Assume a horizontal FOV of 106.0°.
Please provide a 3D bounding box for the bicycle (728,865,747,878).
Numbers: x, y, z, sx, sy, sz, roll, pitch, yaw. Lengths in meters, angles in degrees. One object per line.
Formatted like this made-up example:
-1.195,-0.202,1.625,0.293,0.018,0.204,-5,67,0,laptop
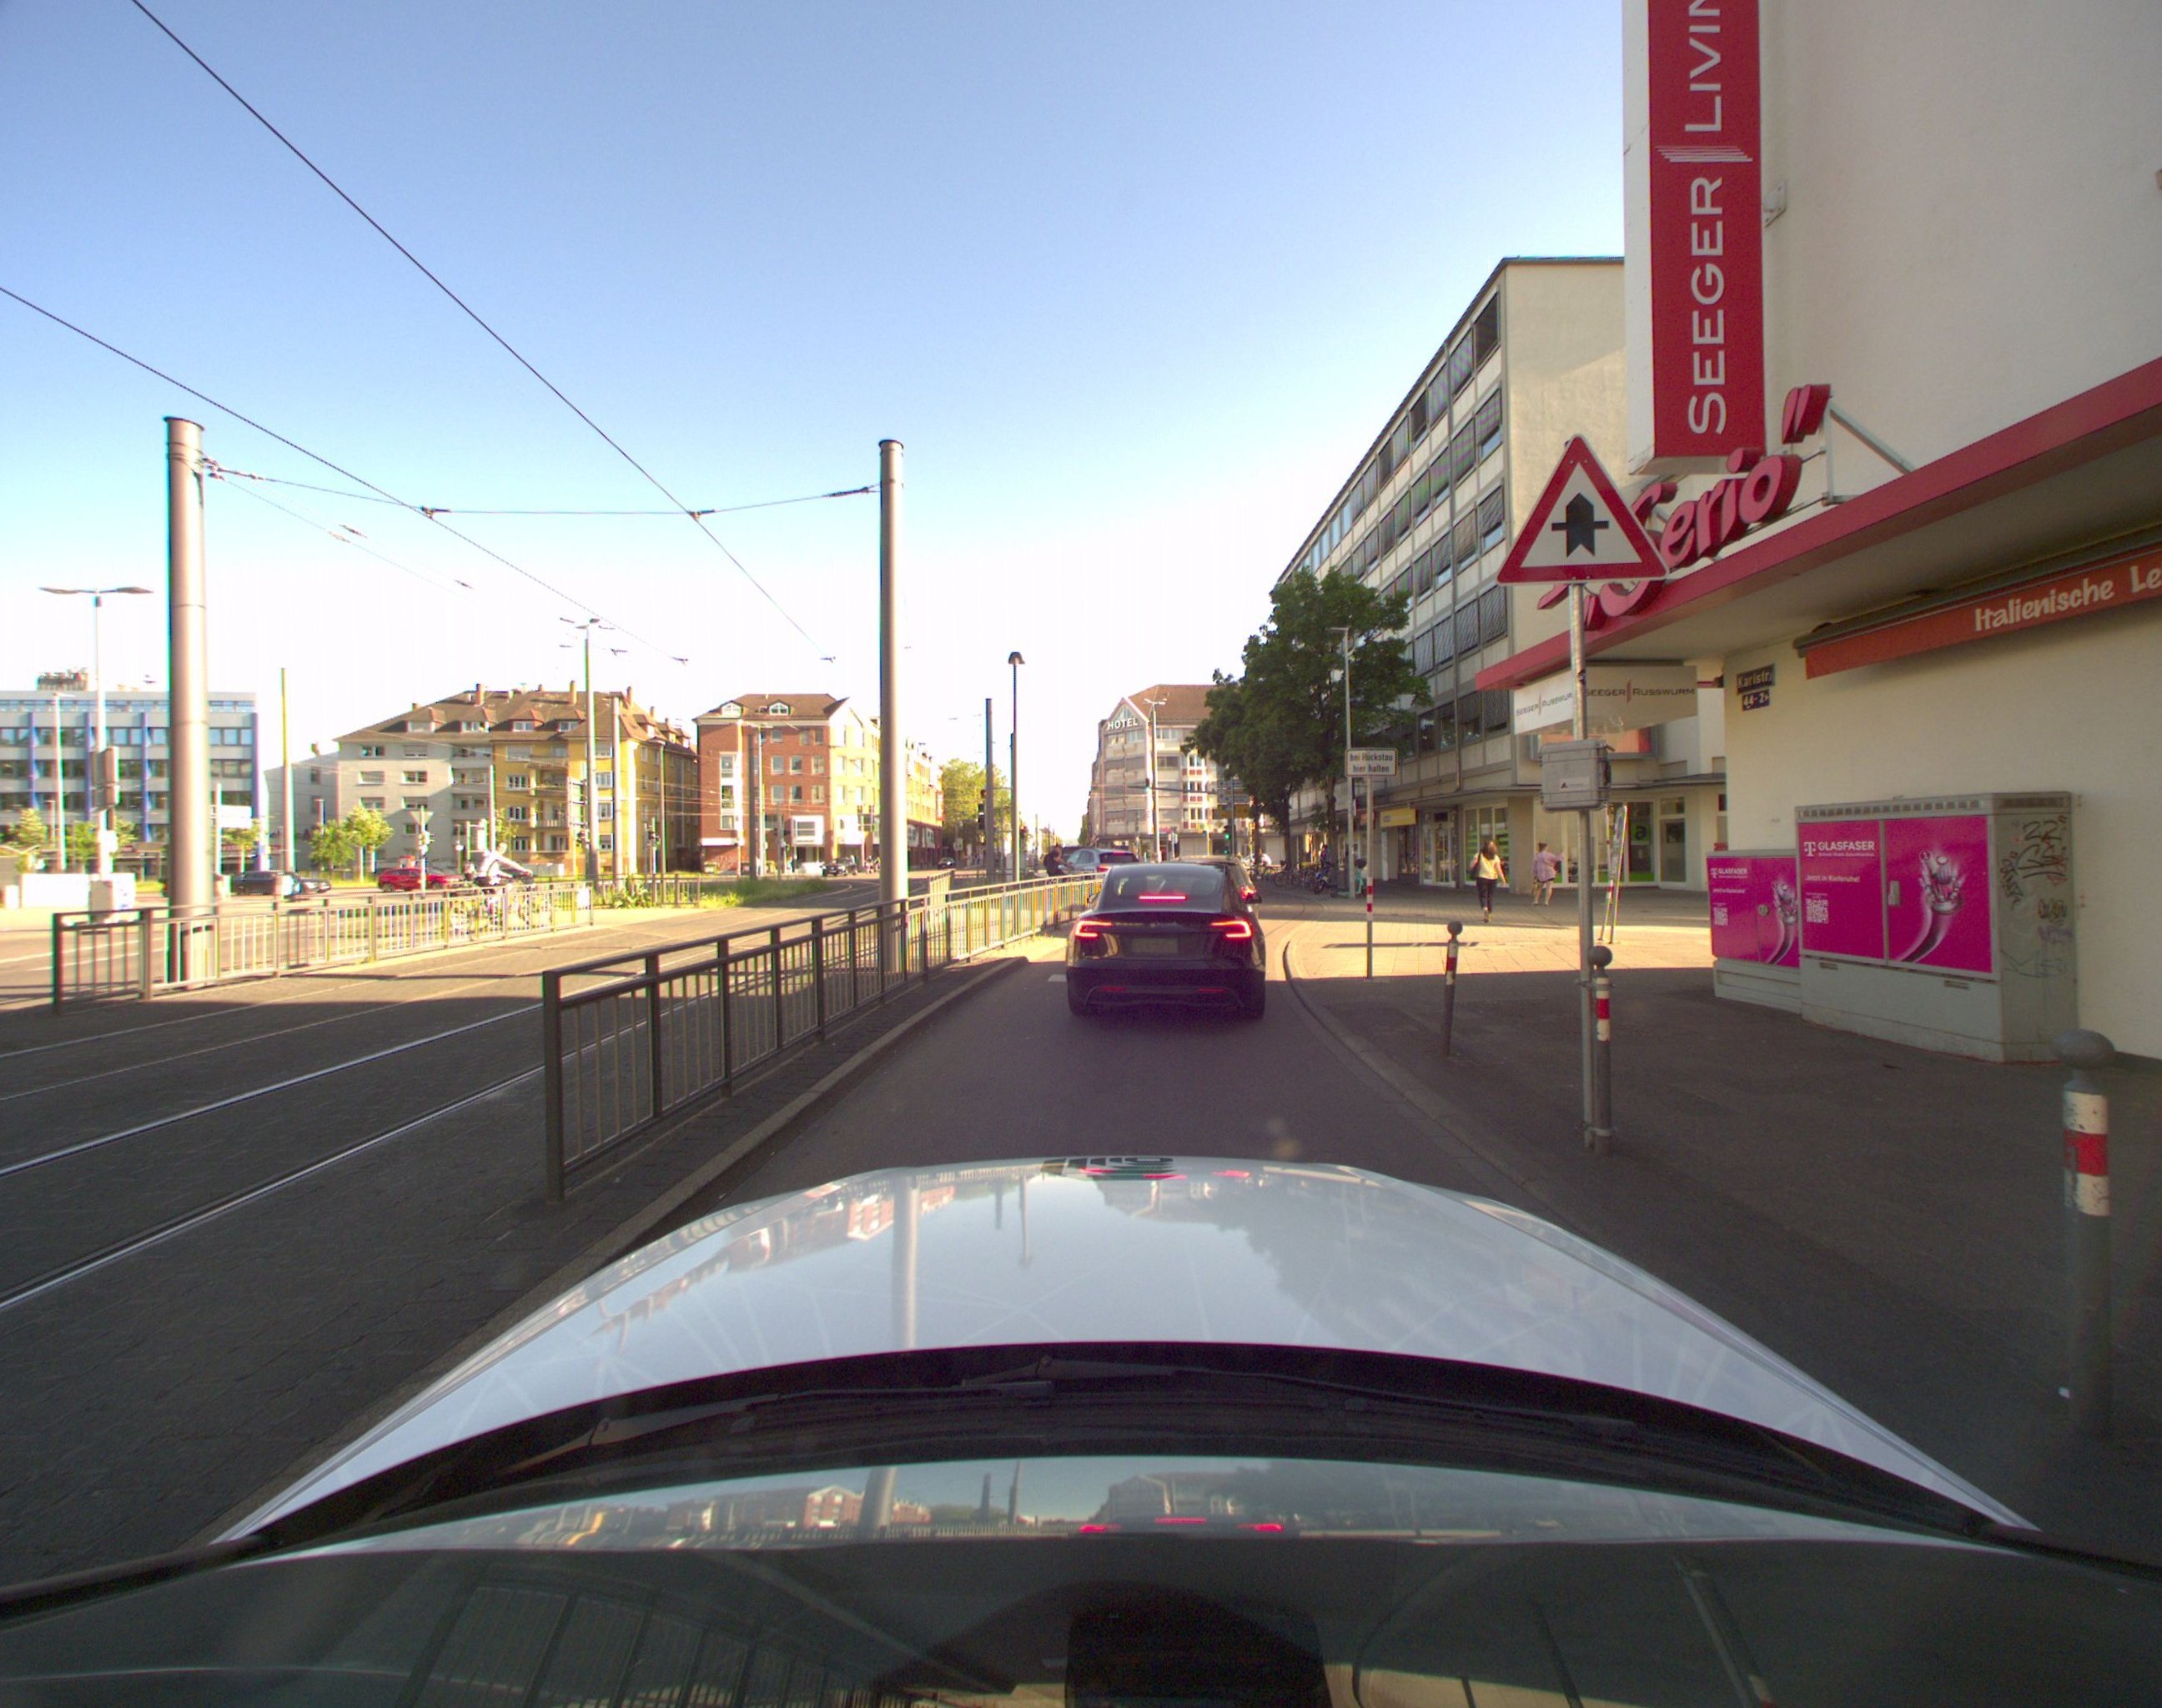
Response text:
-26.042,1.327,61.759,0.445,0.972,2.247,0,-1,2,bicycle

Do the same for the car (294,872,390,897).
-45.316,1.850,50.037,3.990,1.483,1.786,0,-1,-12,car

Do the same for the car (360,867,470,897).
-39.461,1.652,48.368,4.585,1.700,1.993,0,-1,-10,car

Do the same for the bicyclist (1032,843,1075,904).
-0.760,0.528,22.446,0.763,1.628,0.967,0,-1,-37,bicyclist

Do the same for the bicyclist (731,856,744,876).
-26.040,0.916,61.752,0.631,1.503,0.696,0,-1,1,bicyclist

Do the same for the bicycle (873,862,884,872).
-22.330,1.449,89.789,0.527,1.088,2.286,0,-1,4,bicycle

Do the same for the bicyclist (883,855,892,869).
-21.905,0.897,92.367,0.780,1.563,0.747,-1,0,3,bicyclist

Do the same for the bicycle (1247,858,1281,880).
9.262,0.757,41.294,1.643,1.099,0.350,-1,0,3,bicycle

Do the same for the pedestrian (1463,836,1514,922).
8.554,0.511,17.130,0.906,1.752,1.044,-1,-1,25,pedestrian

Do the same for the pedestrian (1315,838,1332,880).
11.761,0.229,39.532,0.659,2.014,0.580,0,-1,4,pedestrian

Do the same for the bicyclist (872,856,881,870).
-22.381,0.983,89.073,0.780,1.563,0.747,-1,0,3,bicyclist

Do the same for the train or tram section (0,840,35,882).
-86.675,0.593,60.916,11.233,3.131,2.795,0,-1,-11,train or tram section

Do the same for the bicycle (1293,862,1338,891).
8.894,0.856,30.934,1.649,1.099,0.349,0,-1,-9,bicycle

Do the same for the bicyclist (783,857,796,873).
-26.861,1.006,74.944,0.699,1.471,0.975,-1,0,9,bicyclist

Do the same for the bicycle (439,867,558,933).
-11.579,0.883,16.243,0.479,1.222,1.866,-1,-1,44,bicycle

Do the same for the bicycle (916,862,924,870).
-22.273,1.612,112.521,0.527,1.088,2.227,0,-1,4,bicycle

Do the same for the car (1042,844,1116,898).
-0.161,0.660,32.738,1.997,2.014,3.980,-1,0,-15,car

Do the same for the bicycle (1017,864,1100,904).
-0.604,0.814,22.581,2.346,1.053,0.624,0,-1,-36,bicycle

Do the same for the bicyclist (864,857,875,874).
-19.625,1.054,75.573,0.781,1.527,0.590,0,-1,6,bicyclist

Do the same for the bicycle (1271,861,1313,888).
8.616,0.843,33.316,1.649,1.099,0.349,0,-1,-9,bicycle

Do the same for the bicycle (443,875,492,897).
-34.693,1.812,46.068,2.188,1.214,0.544,0,-1,-11,bicycle

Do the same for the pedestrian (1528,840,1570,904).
12.428,0.475,21.639,0.881,1.667,0.813,-1,-1,25,pedestrian

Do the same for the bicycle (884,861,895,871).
-21.831,1.310,92.835,0.527,1.088,2.227,-1,0,4,bicycle

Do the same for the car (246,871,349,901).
-45.495,1.837,47.374,3.984,1.672,1.772,0,-1,-8,car

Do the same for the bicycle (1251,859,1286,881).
9.280,0.794,40.247,1.643,1.099,0.350,0,-1,3,bicycle

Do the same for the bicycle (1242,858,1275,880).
9.243,0.787,42.389,1.643,1.099,0.350,0,-1,3,bicycle

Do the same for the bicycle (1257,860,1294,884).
9.139,0.833,38.208,1.643,1.099,0.350,0,-1,3,bicycle

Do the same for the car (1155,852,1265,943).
2.361,0.696,15.079,1.741,1.454,4.009,-1,0,8,car

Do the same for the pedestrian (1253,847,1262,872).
12.271,0.380,56.580,0.523,1.710,0.404,0,-1,5,pedestrian

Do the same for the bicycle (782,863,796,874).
-26.861,1.355,74.940,0.402,0.981,1.699,-1,-1,10,bicycle

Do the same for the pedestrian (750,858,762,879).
-28.857,1.296,72.337,0.780,1.820,0.747,0,-1,3,pedestrian

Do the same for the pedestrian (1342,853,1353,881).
12.793,0.628,39.115,0.388,1.343,0.513,0,-1,4,pedestrian

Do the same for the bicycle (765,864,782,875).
-25.883,1.292,68.562,0.522,0.972,2.247,0,-1,2,bicycle

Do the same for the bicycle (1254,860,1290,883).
9.204,0.837,39.234,1.643,1.099,0.350,0,-1,3,bicycle

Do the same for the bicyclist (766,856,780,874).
-25.895,0.910,68.535,0.895,1.503,0.696,0,-1,1,bicyclist

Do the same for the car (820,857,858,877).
-19.216,1.031,64.777,1.704,1.527,4.038,0,-1,2,car

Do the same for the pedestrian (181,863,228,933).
-21.702,1.069,20.175,0.585,1.681,0.779,-1,-1,44,pedestrian

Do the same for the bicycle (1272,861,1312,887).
9.118,0.854,35.253,1.643,1.099,0.350,0,-1,3,bicycle

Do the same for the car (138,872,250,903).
-50.626,1.876,46.555,3.952,1.685,1.903,0,-1,-11,car

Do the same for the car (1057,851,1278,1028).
0.949,0.726,8.773,1.820,1.455,4.007,0,-1,7,car

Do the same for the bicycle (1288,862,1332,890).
8.816,0.858,31.358,1.649,1.061,0.349,0,-1,-9,bicycle

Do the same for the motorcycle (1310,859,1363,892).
9.144,0.774,29.165,1.701,1.173,0.541,0,-1,0,motorcycle

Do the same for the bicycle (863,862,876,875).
-19.619,1.338,75.515,0.456,1.093,2.205,0,-1,6,bicycle

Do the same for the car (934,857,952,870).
-17.835,1.223,104.996,1.692,1.731,3.706,0,-1,0,car

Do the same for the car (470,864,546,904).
-23.674,1.196,33.783,1.645,1.526,3.839,0,-1,-20,car

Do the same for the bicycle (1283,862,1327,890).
8.730,0.855,31.784,1.649,1.099,0.349,0,-1,-9,bicycle

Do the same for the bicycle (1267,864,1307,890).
8.667,0.964,34.259,1.649,1.099,0.349,0,-1,-9,bicycle

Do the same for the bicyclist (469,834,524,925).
-11.631,0.496,16.208,0.749,1.759,0.757,-1,-1,44,bicyclist

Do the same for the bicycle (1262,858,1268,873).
12.695,0.785,56.147,0.330,1.034,1.260,-1,-1,11,bicycle

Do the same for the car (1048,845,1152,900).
0.519,0.569,26.676,1.891,1.662,4.126,0,-1,-23,car

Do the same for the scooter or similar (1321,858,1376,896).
8.897,0.760,27.095,1.625,1.215,0.649,-1,-1,32,scooter or similar

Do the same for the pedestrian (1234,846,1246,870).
11.015,0.272,56.451,0.697,1.662,0.777,0,-1,1,pedestrian

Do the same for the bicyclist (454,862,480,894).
-34.750,1.332,46.074,0.901,1.808,0.788,0,-1,-12,bicyclist
